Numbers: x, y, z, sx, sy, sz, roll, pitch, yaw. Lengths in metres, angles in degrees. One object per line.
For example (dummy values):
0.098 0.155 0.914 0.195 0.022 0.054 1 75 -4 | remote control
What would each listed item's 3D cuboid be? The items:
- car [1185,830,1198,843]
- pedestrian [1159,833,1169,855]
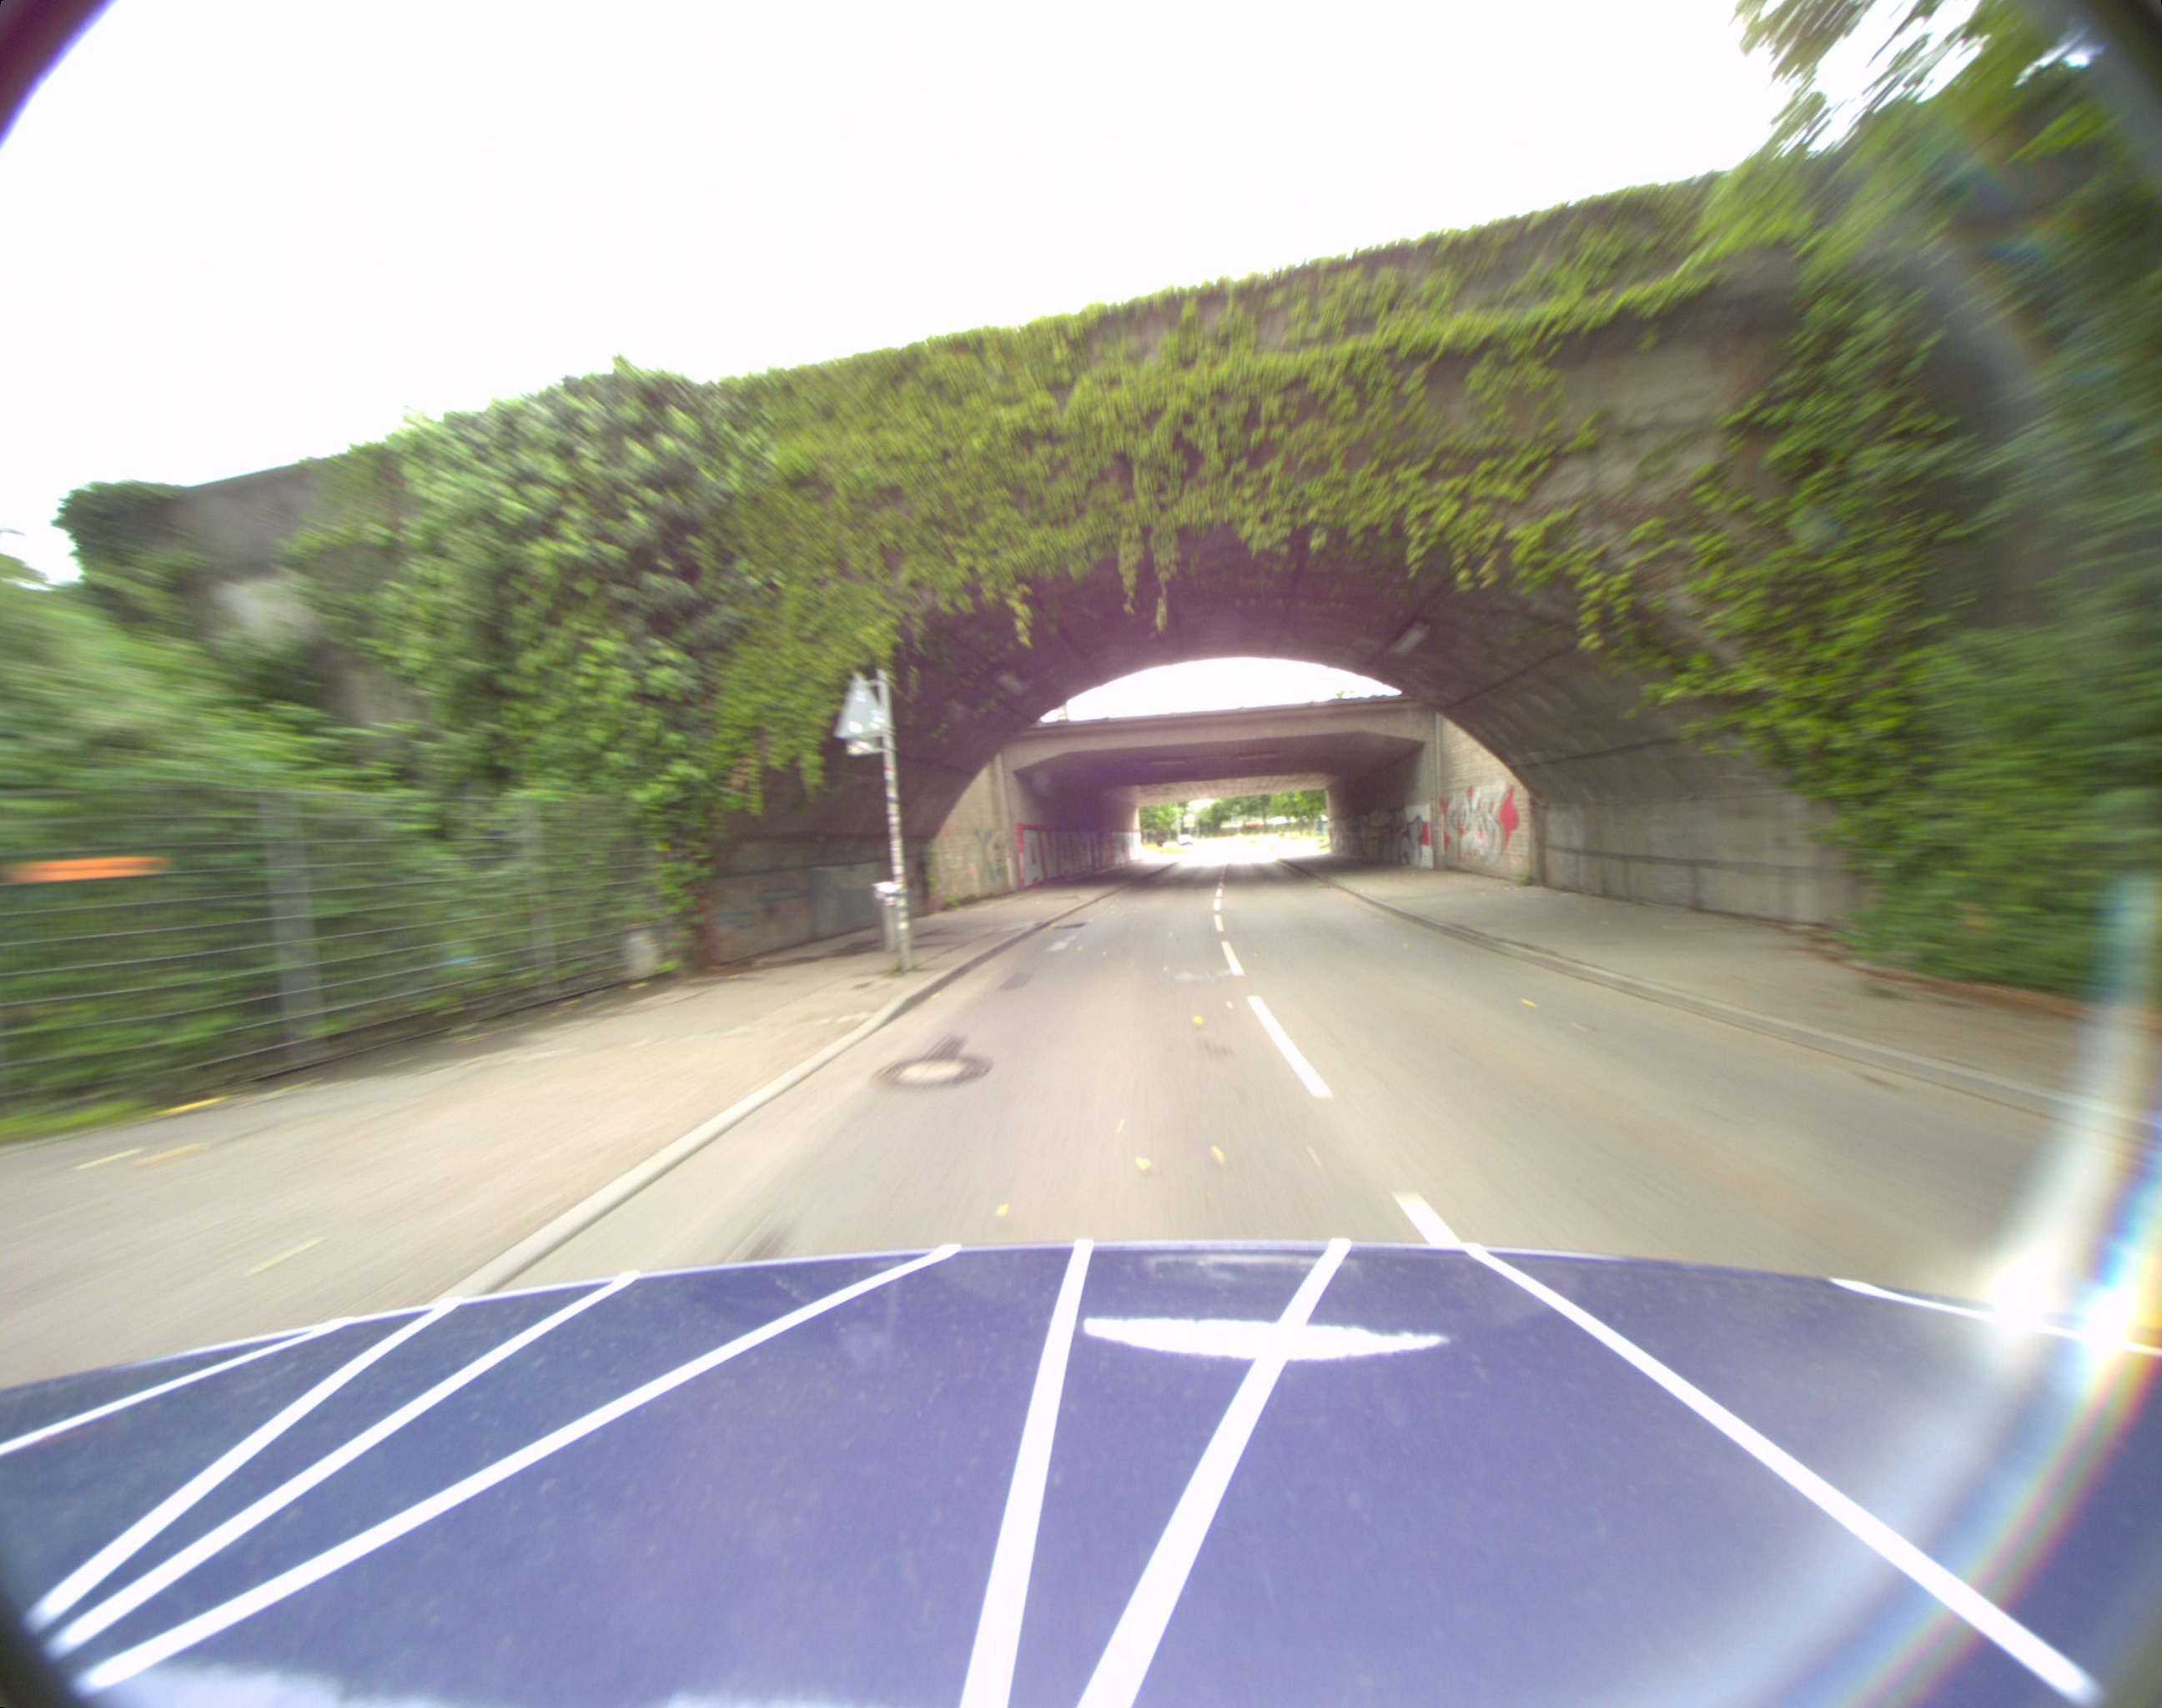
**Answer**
15.650 -2.547 107.595 1.806 1.601 4.176 -2 4 8 | car
7.233 -0.908 66.585 0.821 1.869 1.181 -1 2 5 | pedestrian
